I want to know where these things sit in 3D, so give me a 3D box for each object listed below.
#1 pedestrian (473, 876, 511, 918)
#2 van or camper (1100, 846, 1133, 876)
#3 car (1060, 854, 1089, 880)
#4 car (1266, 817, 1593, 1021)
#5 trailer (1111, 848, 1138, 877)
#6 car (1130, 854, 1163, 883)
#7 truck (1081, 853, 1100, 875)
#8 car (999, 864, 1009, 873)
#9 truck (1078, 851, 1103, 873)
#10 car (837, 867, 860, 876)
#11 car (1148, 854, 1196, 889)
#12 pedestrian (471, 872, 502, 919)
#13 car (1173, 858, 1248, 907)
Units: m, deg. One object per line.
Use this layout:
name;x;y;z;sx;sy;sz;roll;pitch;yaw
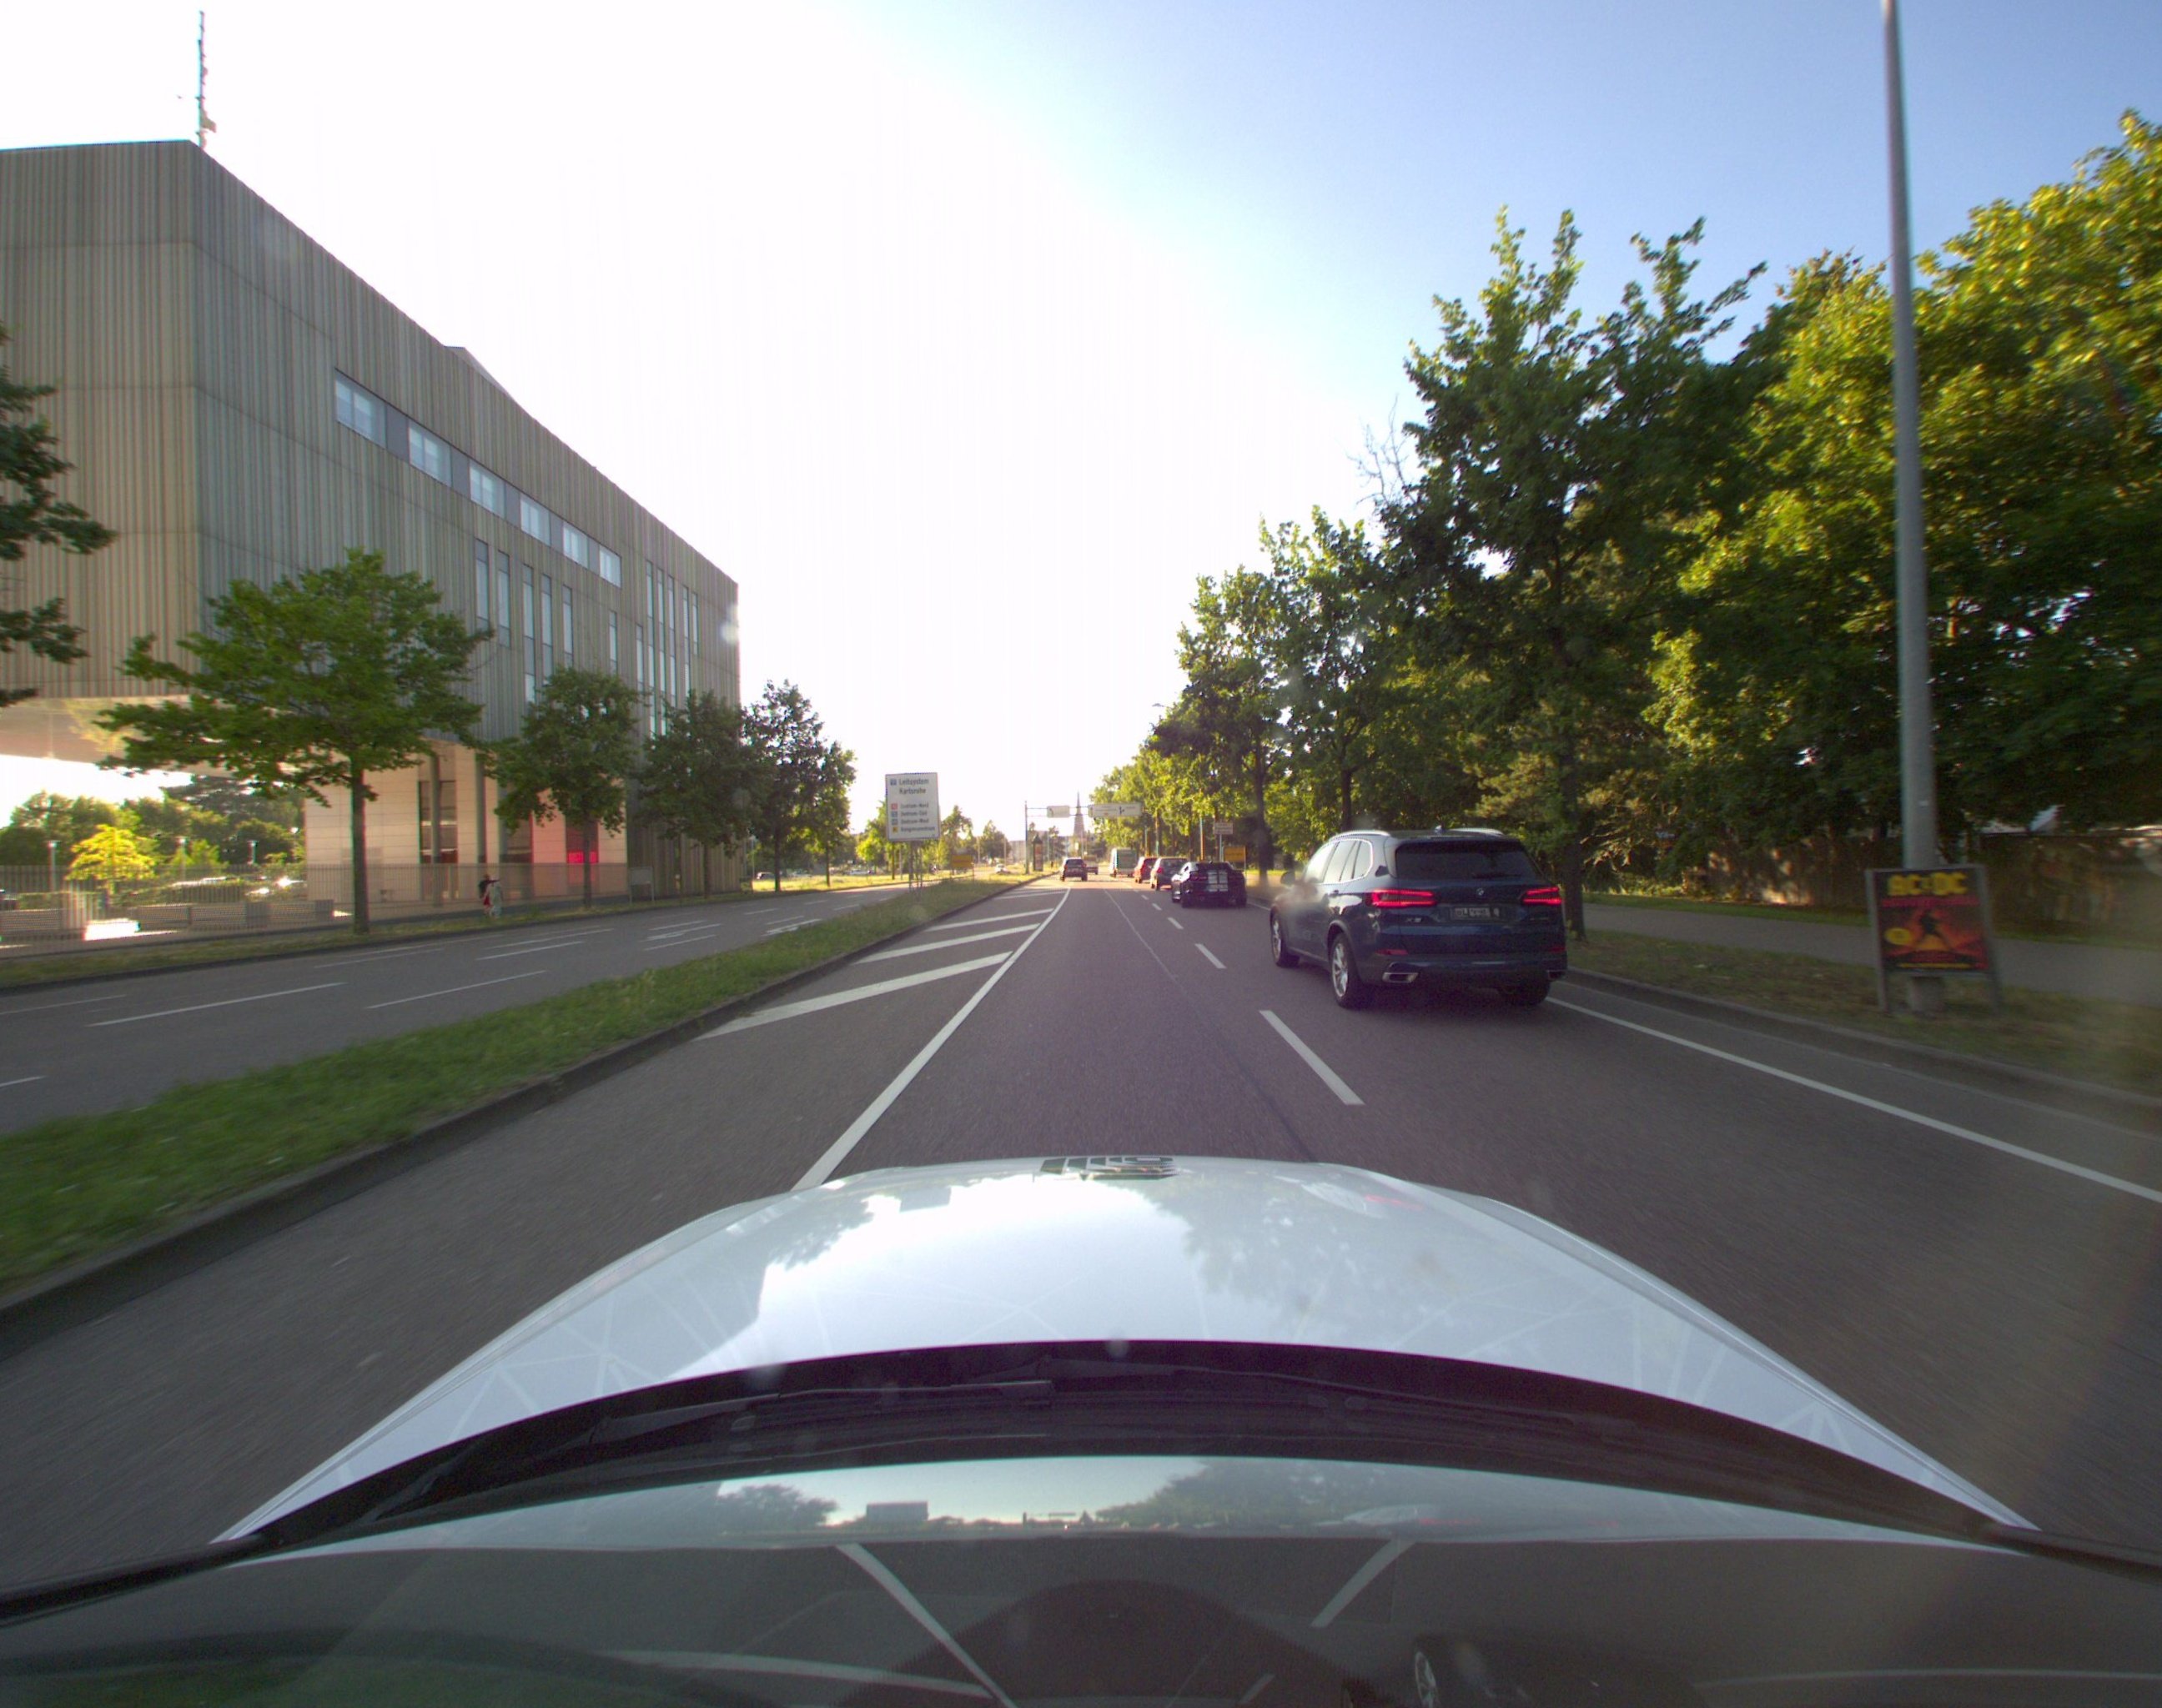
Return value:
pedestrian;-23.157;1.678;32.010;0.773;1.601;0.909;-2;0;1
van or camper;3.278;0.622;76.388;2.280;2.629;6.572;-1;0;-4
car;-0.504;0.920;57.638;1.901;1.660;3.996;-2;-1;-2
car;3.501;0.590;9.315;1.946;1.727;4.703;-1;-1;3
trailer;3.726;0.729;70.267;2.083;2.400;3.500;-1;0;0
car;3.891;0.850;49.114;1.741;1.620;3.820;0;1;1
truck;1.142;1.221;100.489;2.213;2.651;4.770;-2;0;-1
car;-13.788;2.521;145.135;1.559;1.575;3.409;-2;-1;-3
truck;1.088;1.017;100.871;2.575;2.558;6.243;-2;0;-3
car;-44.728;3.420;156.629;3.730;1.508;1.852;-2;0;-43
car;4.095;0.771;37.215;1.742;1.473;3.819;-2;0;0
pedestrian;-23.934;1.666;32.796;0.630;1.841;0.716;-2;0;1
car;3.861;0.797;24.921;1.846;1.338;4.630;-1;0;4
